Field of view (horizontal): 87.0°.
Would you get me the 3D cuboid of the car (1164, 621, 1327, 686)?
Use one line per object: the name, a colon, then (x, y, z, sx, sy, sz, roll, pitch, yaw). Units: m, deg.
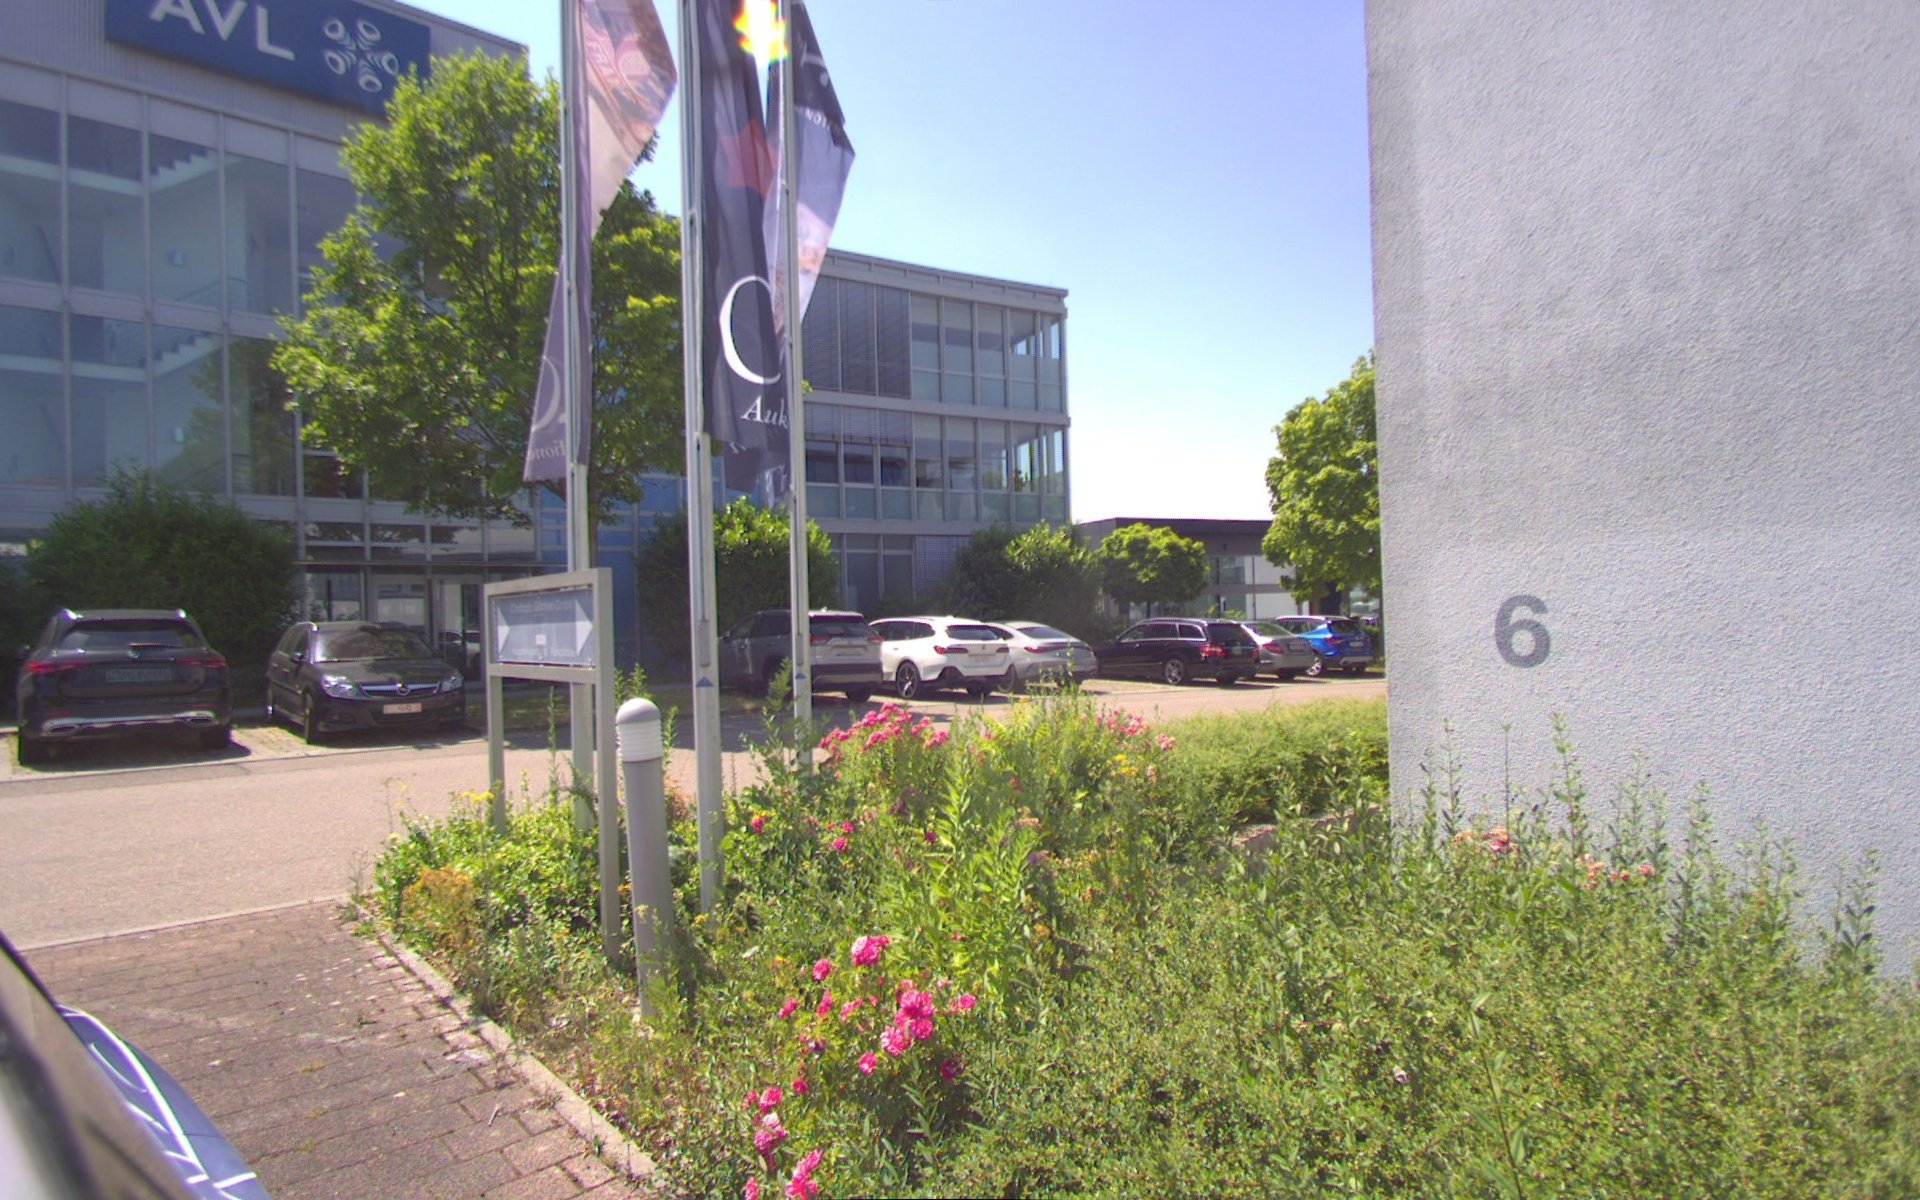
car: (6.981, 1.252, 25.187, 1.722, 1.435, 4.185, 0, -1, -21)

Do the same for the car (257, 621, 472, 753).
car: (-8.248, 1.056, 13.826, 1.704, 1.495, 4.402, 0, -1, -42)

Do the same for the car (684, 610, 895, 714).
car: (-3.170, 1.040, 18.245, 1.805, 1.650, 4.176, 1, -2, -42)

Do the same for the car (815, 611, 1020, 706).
car: (-0.929, 1.058, 19.619, 1.805, 1.650, 4.178, 1, -2, -40)

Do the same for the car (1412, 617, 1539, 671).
car: (14.958, 1.238, 29.500, 1.522, 1.435, 3.009, 0, 0, -23)

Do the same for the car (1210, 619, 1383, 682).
car: (8.750, 1.251, 26.658, 1.723, 1.435, 4.183, 0, 0, -32)

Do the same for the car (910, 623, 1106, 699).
car: (0.904, 1.196, 21.150, 1.725, 1.411, 4.178, 1, -2, -40)

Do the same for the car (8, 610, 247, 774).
car: (-9.985, 0.947, 12.033, 1.911, 1.615, 3.863, 2, -2, -43)

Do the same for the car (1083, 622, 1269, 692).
car: (4.893, 1.239, 23.459, 1.723, 1.435, 4.182, 1, -1, -34)

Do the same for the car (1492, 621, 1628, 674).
car: (17.490, 1.346, 29.624, 1.522, 1.435, 3.099, 0, -1, -23)
